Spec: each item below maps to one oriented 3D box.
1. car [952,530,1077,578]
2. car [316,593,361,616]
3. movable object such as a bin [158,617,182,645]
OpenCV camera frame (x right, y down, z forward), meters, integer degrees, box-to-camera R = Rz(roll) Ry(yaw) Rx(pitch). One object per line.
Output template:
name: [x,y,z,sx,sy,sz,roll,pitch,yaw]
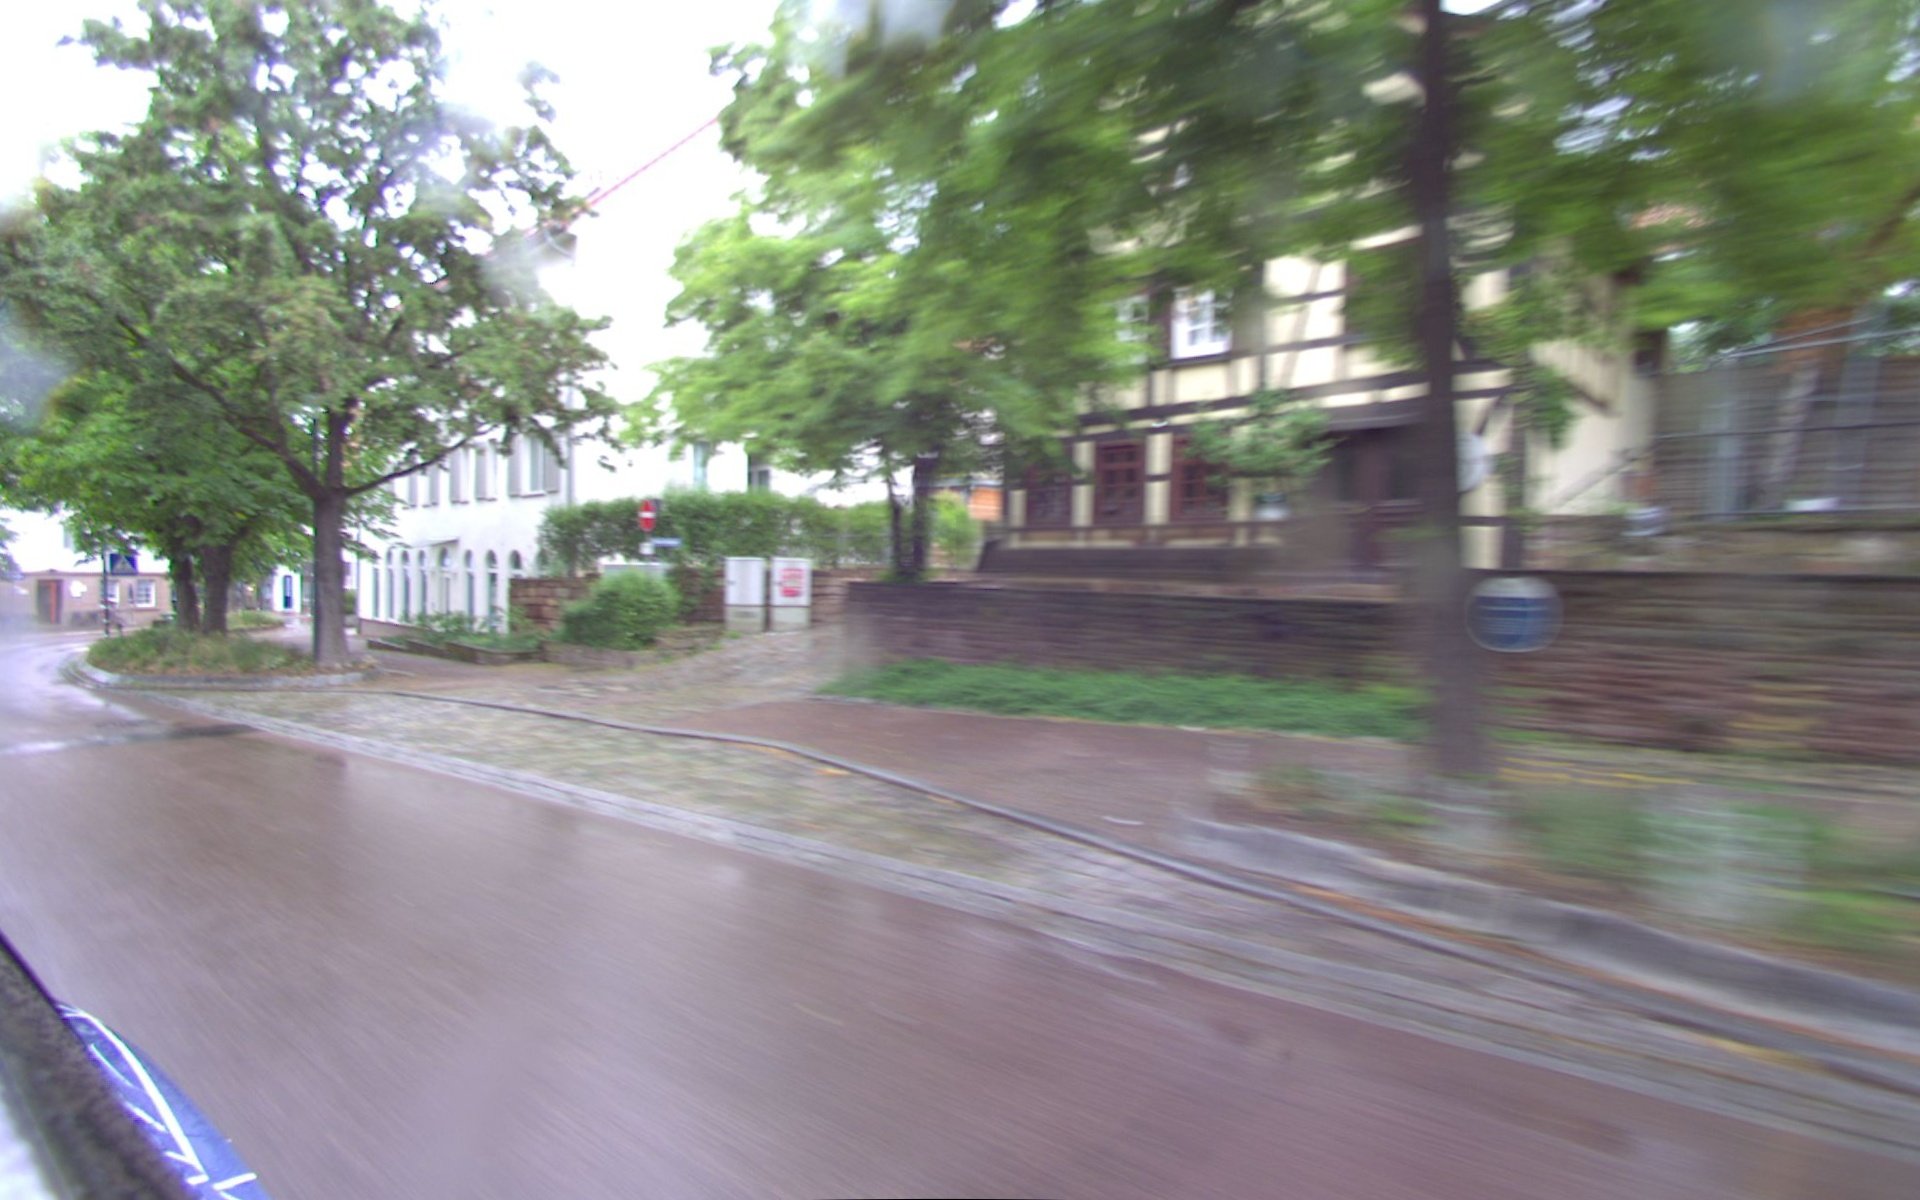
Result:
car: [1.729,-1.461,32.273,3.628,1.353,1.600,0,6,31]
car: [-45.302,0.310,73.740,3.890,1.634,1.804,0,0,44]
movable object such as a bin: [-30.326,1.180,38.861,0.625,1.067,0.700,1,0,-30]
